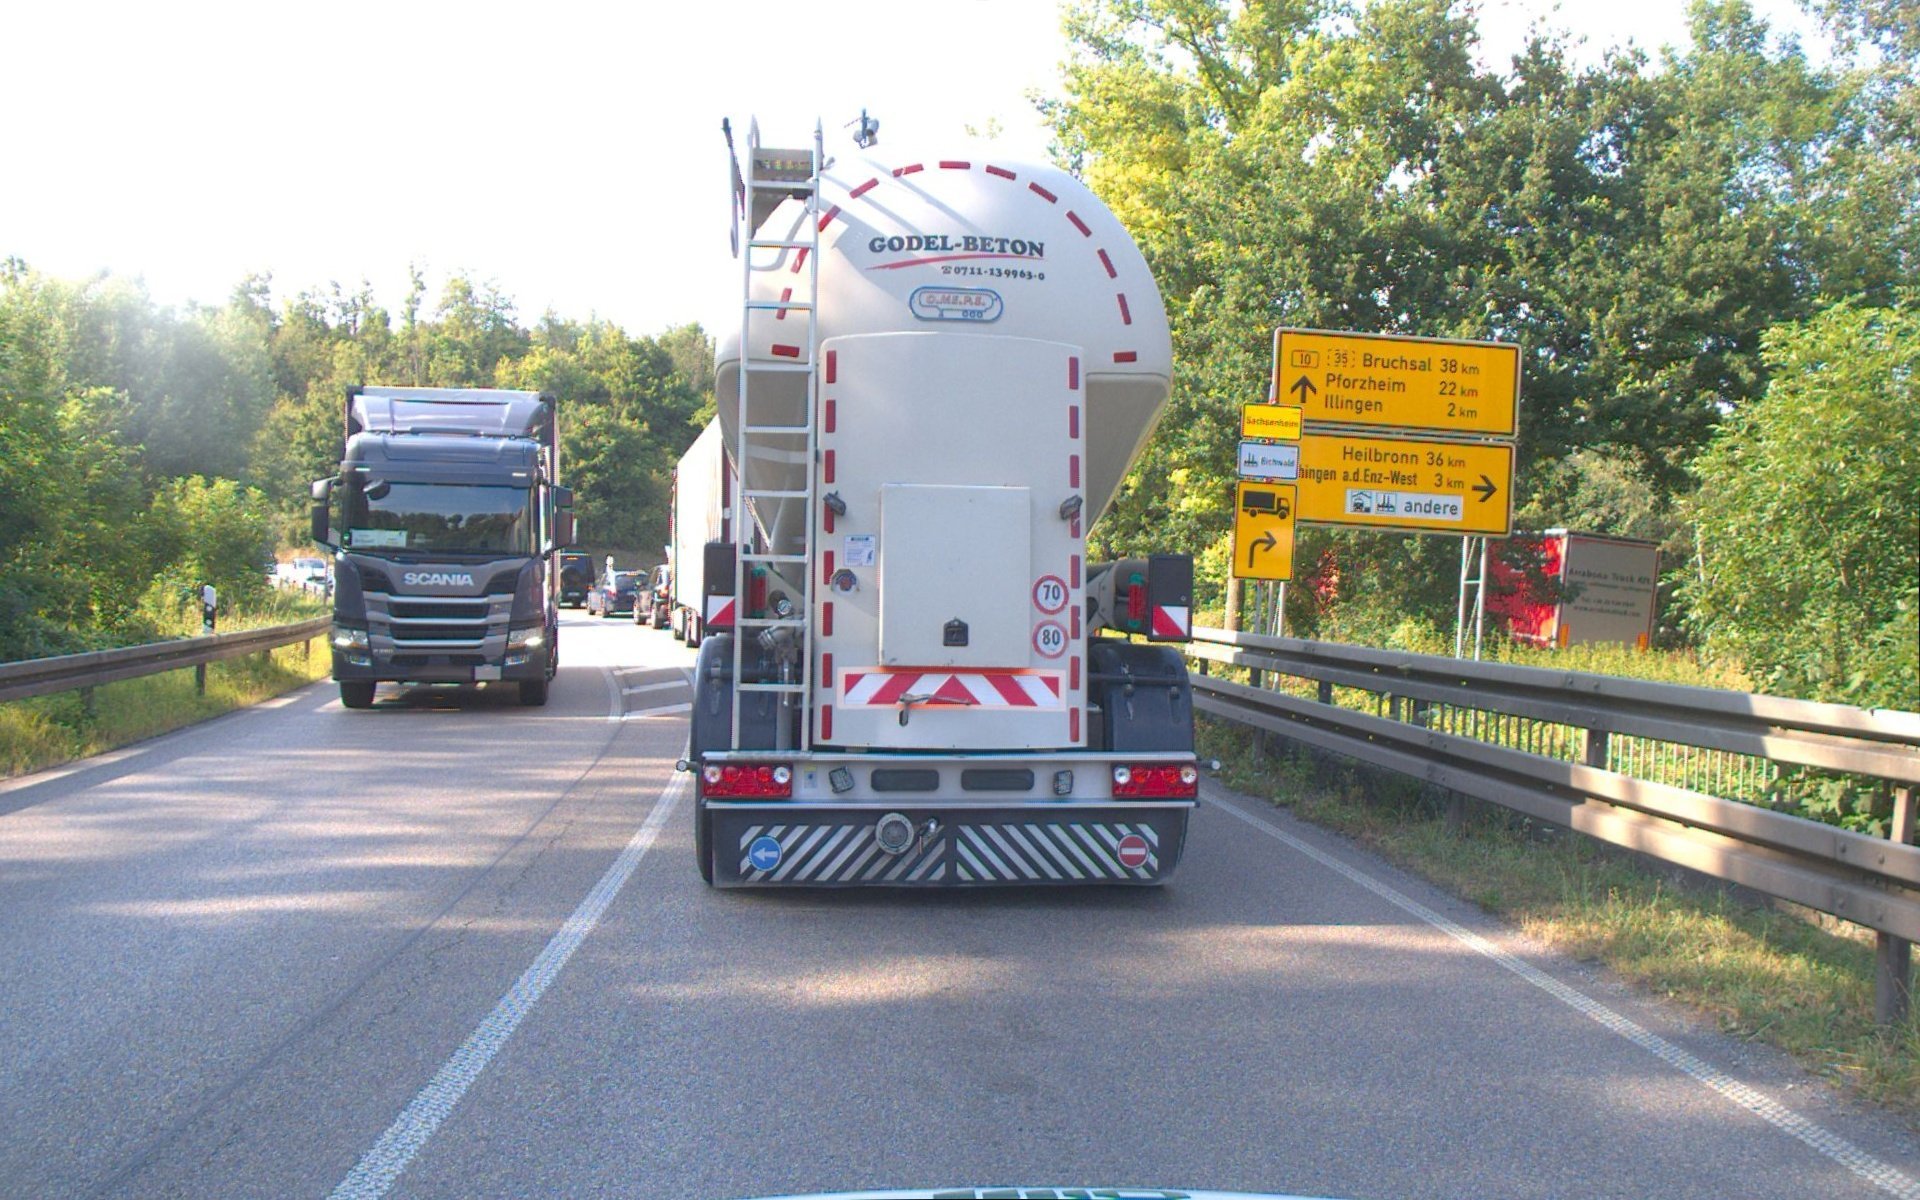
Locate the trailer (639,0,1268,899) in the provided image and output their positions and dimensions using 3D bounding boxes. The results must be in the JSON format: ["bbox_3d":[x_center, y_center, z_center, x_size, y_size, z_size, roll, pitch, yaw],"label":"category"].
[{"bbox_3d":[-0.399,-0.920,12.383,2.830,4.532,9.596,1,0,-5],"label":"trailer"}]

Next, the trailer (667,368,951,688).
[{"bbox_3d":[-3.316,-1.075,30.784,3.484,4.592,12.942,2,0,-13],"label":"trailer"}]

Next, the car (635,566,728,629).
[{"bbox_3d":[-7.762,-0.109,45.825,1.840,1.656,3.976,0,1,-20],"label":"car"}]

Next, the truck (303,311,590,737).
[{"bbox_3d":[-7.002,-0.834,23.447,2.962,4.665,10.201,1,0,-15],"label":"truck"}]

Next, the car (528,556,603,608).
[{"bbox_3d":[-14.896,-0.703,62.267,1.933,1.883,3.966,-1,2,-26],"label":"car"}]

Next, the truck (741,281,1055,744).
[{"bbox_3d":[-0.910,-0.782,17.823,2.771,4.105,5.884,1,0,-7],"label":"truck"}]

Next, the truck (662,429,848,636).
[{"bbox_3d":[-4.799,-1.449,37.445,3.391,4.157,6.469,2,1,-13],"label":"truck"}]

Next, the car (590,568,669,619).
[{"bbox_3d":[-10.756,-0.242,53.635,1.841,1.592,3.975,0,1,-21],"label":"car"}]

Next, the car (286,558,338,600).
[{"bbox_3d":[-31.100,-1.018,79.304,1.846,1.884,3.965,3,0,-27],"label":"car"}]
